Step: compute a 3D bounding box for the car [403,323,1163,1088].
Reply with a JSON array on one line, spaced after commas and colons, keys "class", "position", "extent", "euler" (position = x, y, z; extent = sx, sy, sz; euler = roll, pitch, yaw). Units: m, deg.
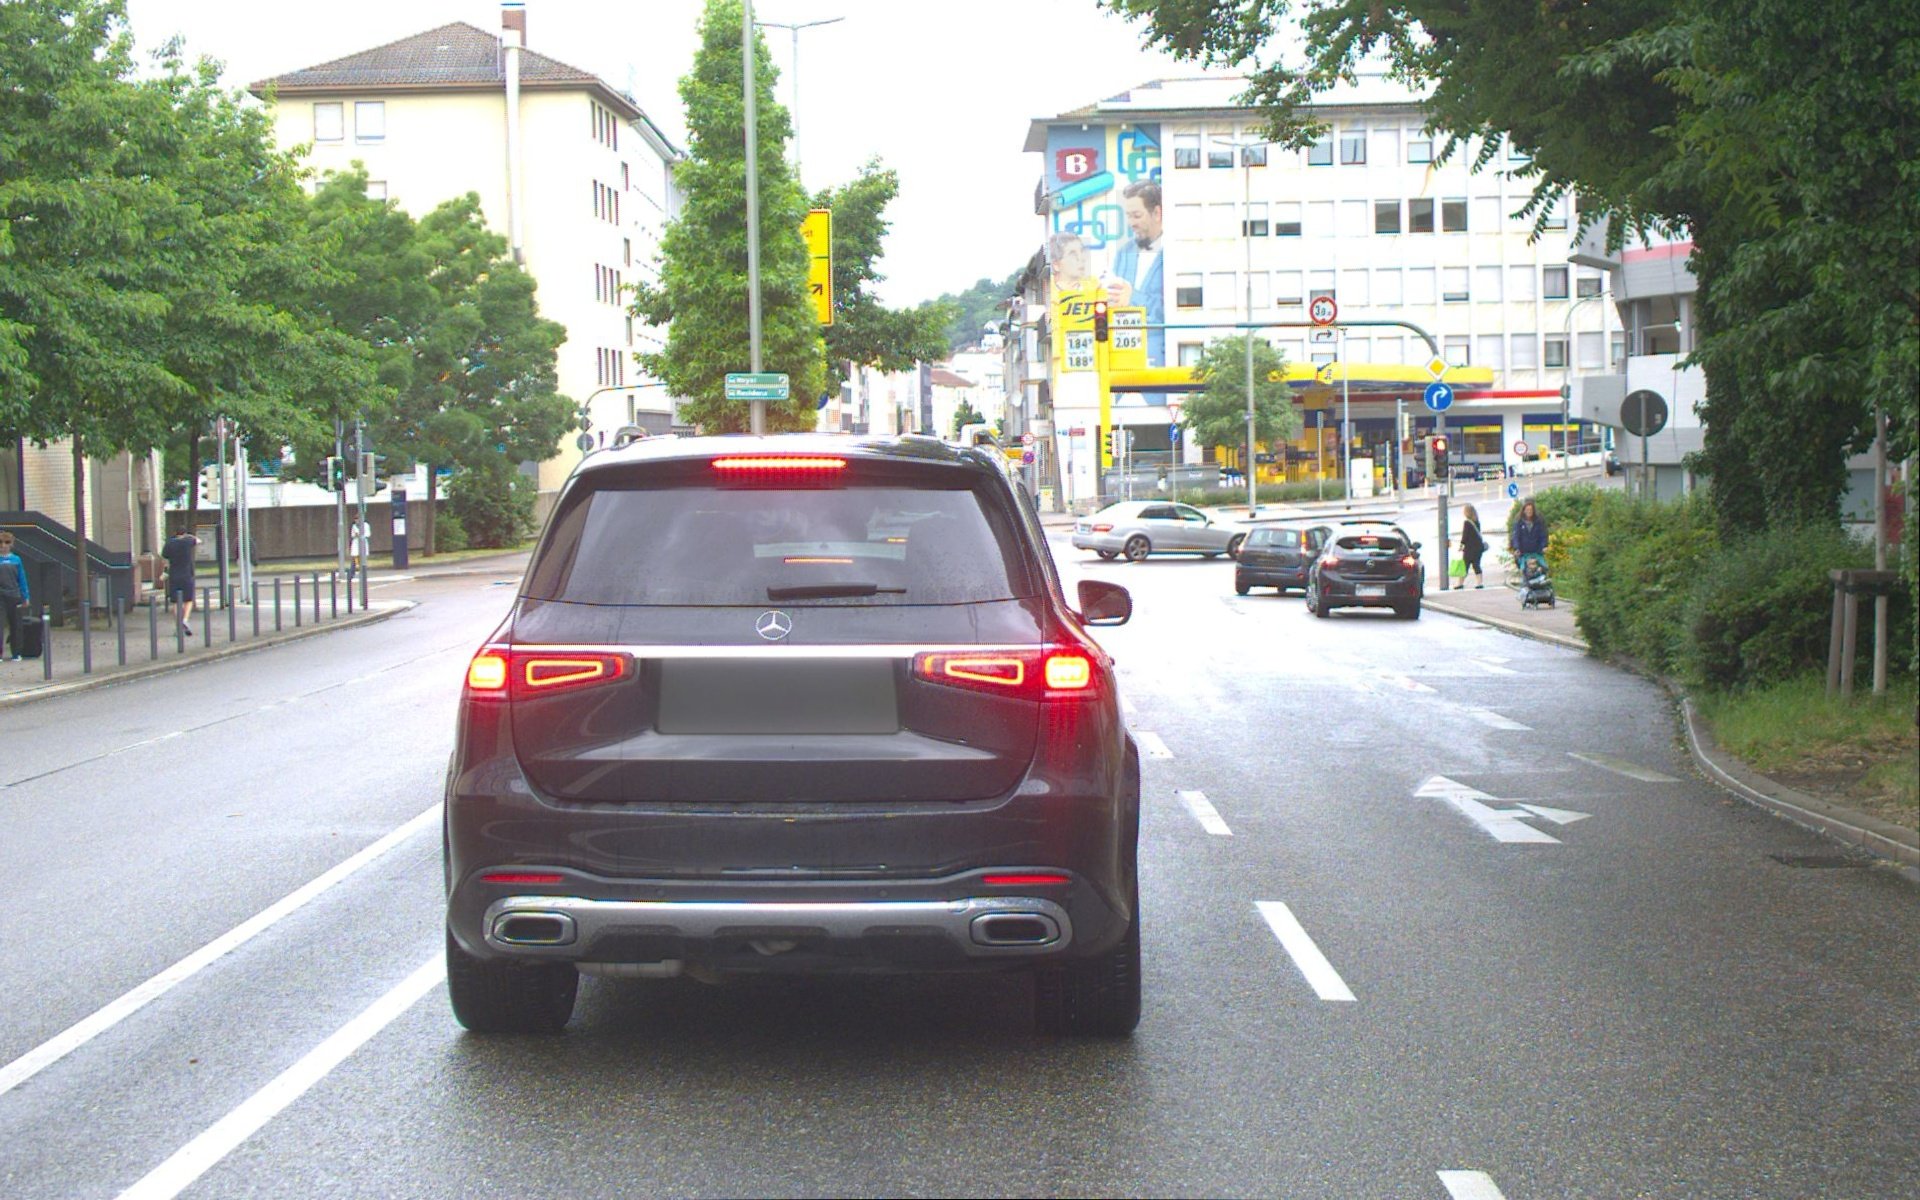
[{"class": "car", "position": [-0.504, 0.263, 11.156], "extent": [1.993, 2.007, 4.000], "euler": [1, 1, -1]}]

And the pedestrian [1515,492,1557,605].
[{"class": "pedestrian", "position": [9.801, -0.885, 58.493], "extent": [0.662, 1.911, 0.728], "euler": [1, 2, 8]}]

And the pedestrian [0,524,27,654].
[{"class": "pedestrian", "position": [-12.926, -0.141, 45.909], "extent": [0.688, 1.720, 0.754], "euler": [1, -2, -1]}]

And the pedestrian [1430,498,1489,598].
[{"class": "pedestrian", "position": [10.168, -1.069, 70.011], "extent": [1.025, 2.007, 0.999], "euler": [1, 1, -1]}]

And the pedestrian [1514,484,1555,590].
[{"class": "pedestrian", "position": [10.542, -1.154, 63.139], "extent": [0.620, 1.929, 0.610], "euler": [1, 0, 0]}]

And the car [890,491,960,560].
[{"class": "car", "position": [-1.081, -2.246, 104.187], "extent": [1.993, 2.007, 4.000], "euler": [1, 1, -2]}]

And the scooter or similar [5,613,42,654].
[{"class": "scooter or similar", "position": [-12.610, 0.451, 46.284], "extent": [0.360, 0.534, 0.499], "euler": [1, 0, 0]}]

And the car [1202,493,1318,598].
[{"class": "car", "position": [5.999, -1.083, 69.158], "extent": [1.993, 2.007, 4.000], "euler": [1, 1, 1]}]

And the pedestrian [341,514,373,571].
[{"class": "pedestrian", "position": [-15.484, -1.476, 88.261], "extent": [0.711, 1.457, 0.598], "euler": [1, 0, -1]}]

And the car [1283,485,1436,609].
[{"class": "car", "position": [6.650, -0.915, 57.660], "extent": [1.993, 2.007, 4.001], "euler": [0, 2, -1]}]

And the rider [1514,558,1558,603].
[{"class": "rider", "position": [9.684, -0.324, 57.808], "extent": [0.694, 0.737, 0.632], "euler": [1, 0, 8]}]

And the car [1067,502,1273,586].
[{"class": "car", "position": [5.207, -1.402, 85.635], "extent": [4.804, 2.006, 2.001], "euler": [-1, 2, -7]}]

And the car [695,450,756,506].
[{"class": "car", "position": [-8.529, -4.437, 125.450], "extent": [1.993, 1.868, 5.142], "euler": [1, 1, -1]}]

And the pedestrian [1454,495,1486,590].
[{"class": "pedestrian", "position": [10.316, -1.156, 69.543], "extent": [0.519, 1.904, 0.556], "euler": [1, 0, 0]}]

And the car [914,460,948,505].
[{"class": "car", "position": [-1.773, -7.117, 207.923], "extent": [1.993, 2.005, 4.004], "euler": [1, 12, -1]}]

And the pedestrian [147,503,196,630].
[{"class": "pedestrian", "position": [-12.528, -0.531, 54.622], "extent": [0.587, 2.007, 0.749], "euler": [1, 0, -1]}]
